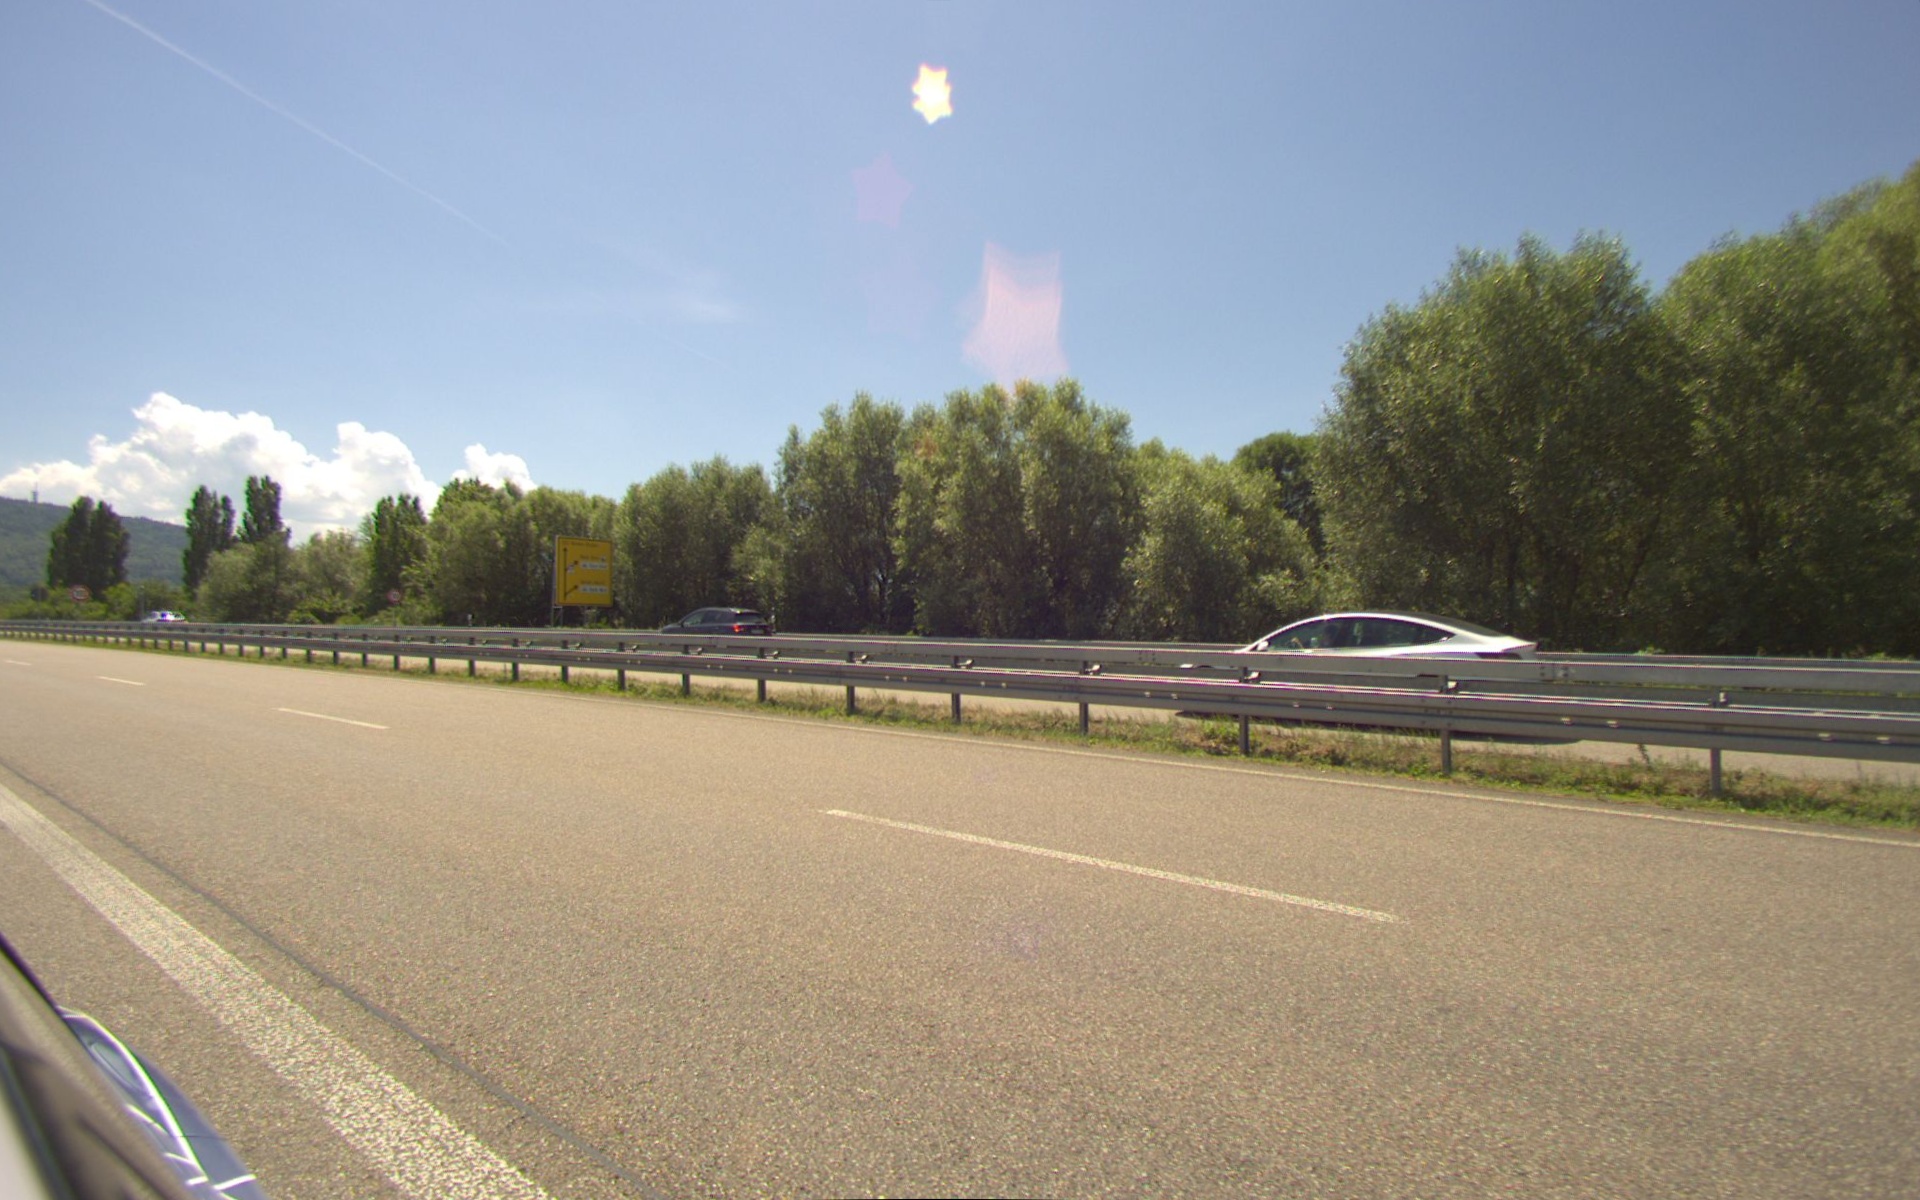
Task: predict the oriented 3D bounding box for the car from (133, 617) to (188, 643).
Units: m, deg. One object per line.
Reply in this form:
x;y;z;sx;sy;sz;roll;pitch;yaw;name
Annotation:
-48.466;1.767;61.362;3.994;1.515;1.693;-1;-1;37;car

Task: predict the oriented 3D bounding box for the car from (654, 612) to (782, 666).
-7.522;1.157;31.307;4.068;1.563;1.673;-1;-1;37;car

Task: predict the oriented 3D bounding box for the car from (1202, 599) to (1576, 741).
5.320;0.775;12.774;3.995;1.500;1.899;-1;-1;39;car
